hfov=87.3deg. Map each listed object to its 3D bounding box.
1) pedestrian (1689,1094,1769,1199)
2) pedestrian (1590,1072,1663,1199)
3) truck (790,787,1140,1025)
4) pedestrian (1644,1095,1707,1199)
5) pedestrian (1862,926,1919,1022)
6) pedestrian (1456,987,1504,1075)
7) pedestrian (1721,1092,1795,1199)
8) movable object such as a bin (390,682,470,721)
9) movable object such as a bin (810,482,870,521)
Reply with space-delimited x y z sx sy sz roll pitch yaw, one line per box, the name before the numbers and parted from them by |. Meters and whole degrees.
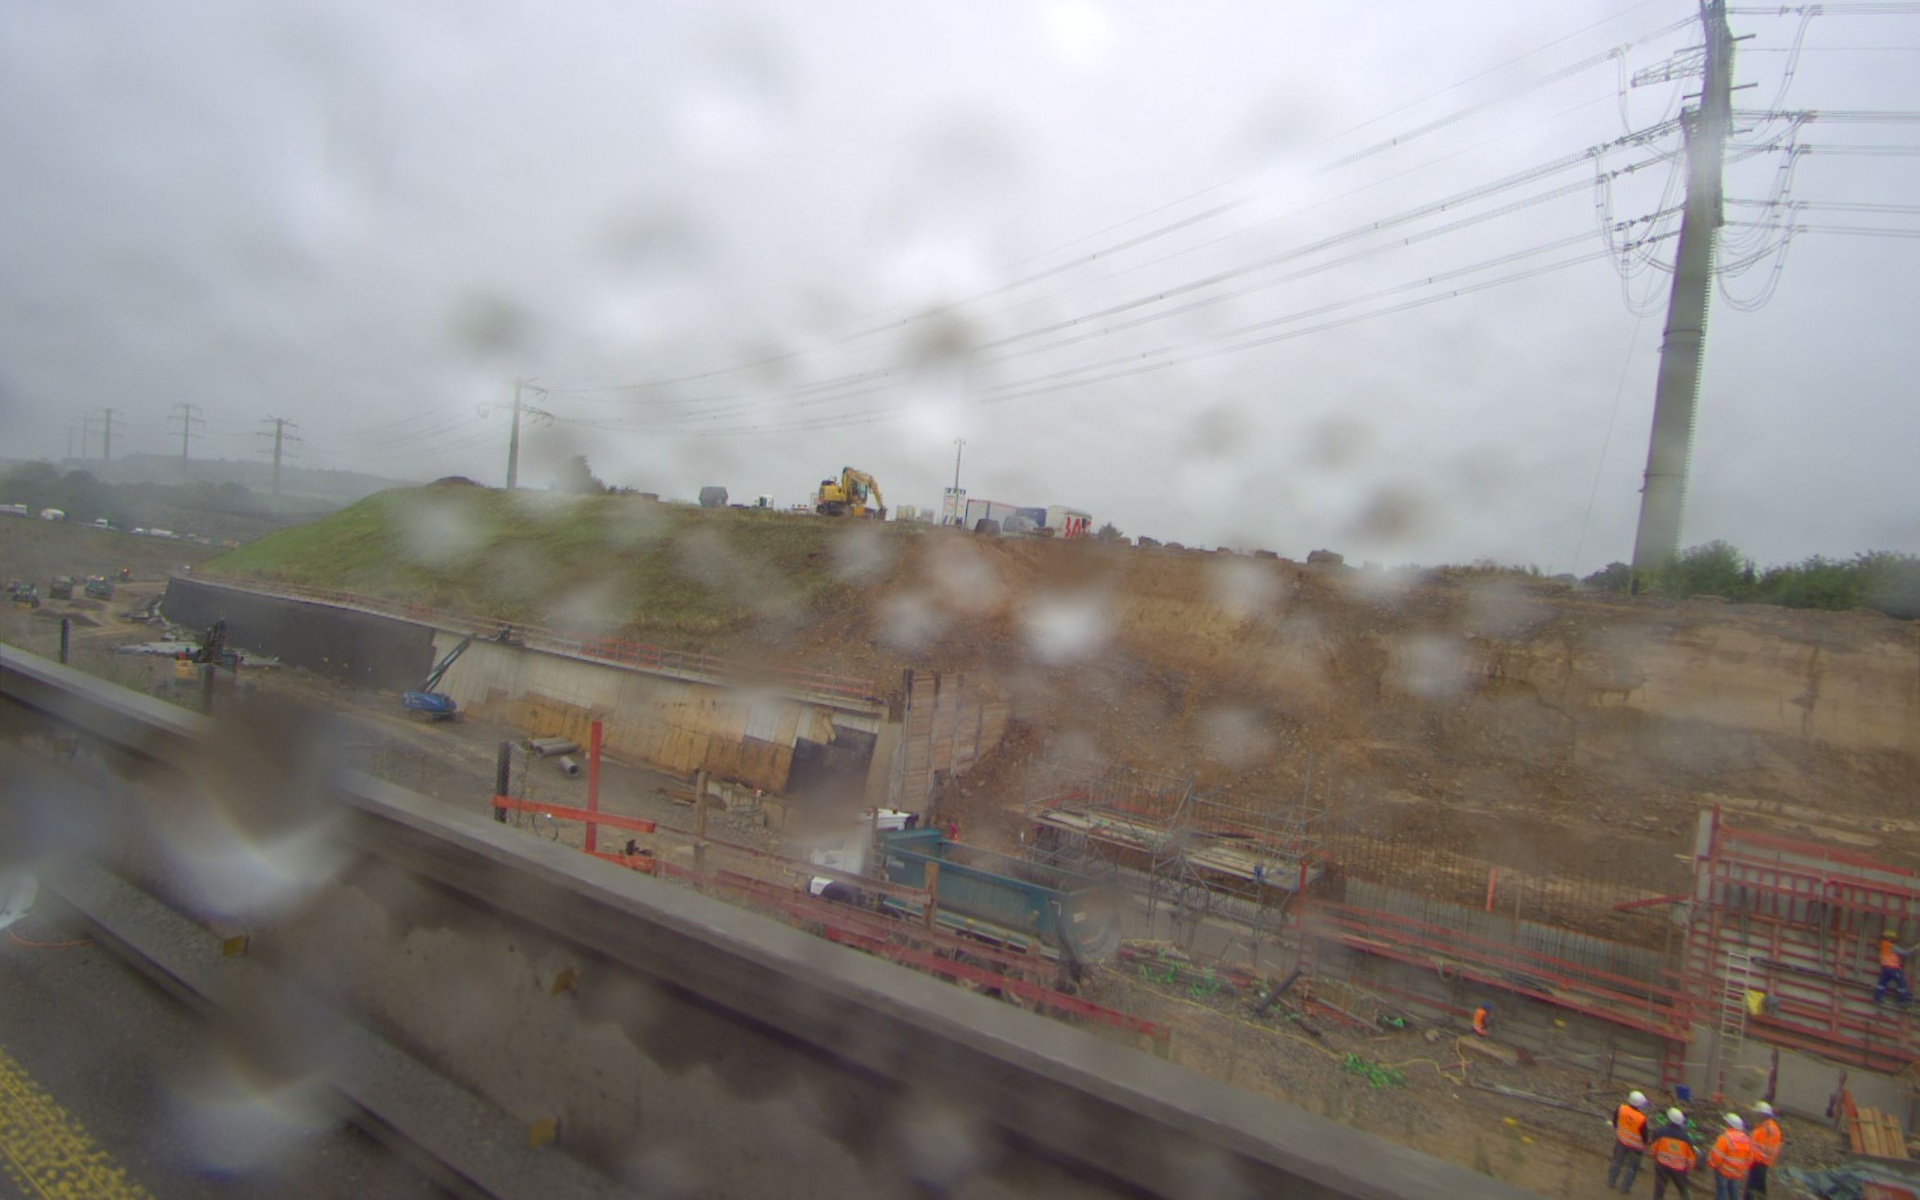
pedestrian | 12.947 9.502 16.966 0.721 1.967 0.575 6 0 3
pedestrian | 11.817 9.495 17.846 0.567 1.892 0.731 7 -1 -22
truck | -0.128 7.545 26.236 8.925 3.532 2.731 6 -2 36
pedestrian | 12.021 9.487 16.924 0.724 1.892 0.573 6 -1 38
pedestrian | 22.767 9.107 24.570 0.885 2.013 0.908 5 -11 35
pedestrian | 14.334 11.849 27.721 0.891 2.013 0.901 5 -11 35
pedestrian | 13.731 9.610 17.323 0.725 1.967 0.573 7 -1 -21
movable object such as a bin | -33.403 6.382 63.513 3.772 2.036 2.001 6 -4 -6
movable object such as a bin | -9.450 -7.776 79.131 3.910 2.473 2.428 8 0 39
